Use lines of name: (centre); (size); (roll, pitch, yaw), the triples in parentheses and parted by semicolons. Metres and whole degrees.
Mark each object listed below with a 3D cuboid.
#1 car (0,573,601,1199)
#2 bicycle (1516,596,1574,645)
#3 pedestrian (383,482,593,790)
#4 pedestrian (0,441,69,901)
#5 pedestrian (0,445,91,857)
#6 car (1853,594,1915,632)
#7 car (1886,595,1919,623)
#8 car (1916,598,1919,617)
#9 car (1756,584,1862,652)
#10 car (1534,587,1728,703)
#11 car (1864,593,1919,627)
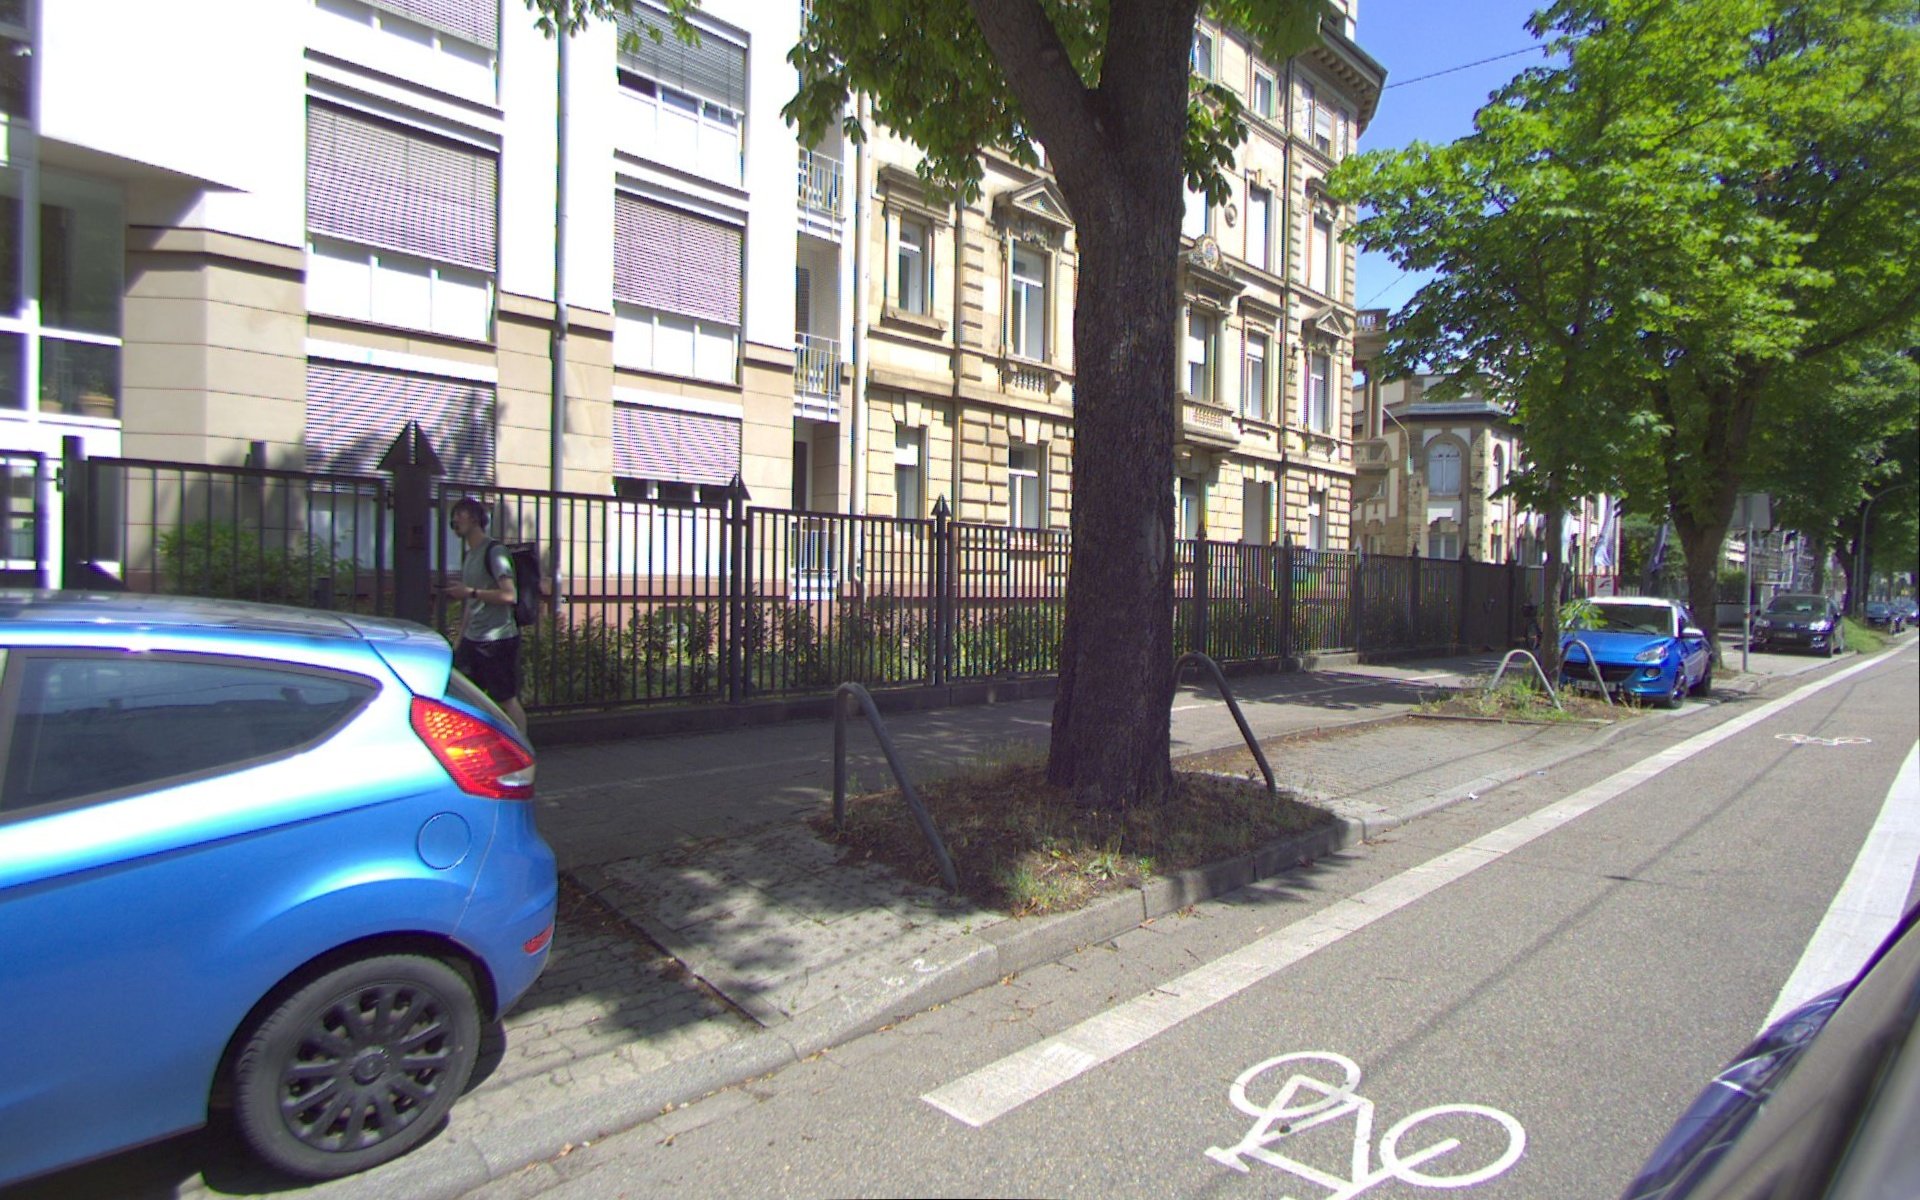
car: (-2.959, 0.667, 2.339); (3.660, 1.461, 1.678); (0, 2, -45)
bicycle: (13.805, 0.464, 23.865); (1.946, 1.084, 0.608); (0, 1, -42)
pedestrian: (-3.056, 0.202, 6.579); (1.066, 1.820, 0.685); (0, 1, -44)
pedestrian: (-4.180, 0.270, 4.037); (0.931, 1.799, 0.706); (0, 1, -42)
pedestrian: (-4.585, 0.213, 4.509); (1.035, 1.783, 0.788); (0, 1, -44)
car: (38.938, 0.527, 42.638); (3.759, 1.420, 1.624); (0, 4, -44)
car: (52.212, 0.465, 55.637); (3.934, 1.420, 1.624); (0, 4, -44)
car: (76.563, 0.644, 79.668); (3.934, 1.420, 1.624); (0, 4, -44)
car: (23.322, 0.449, 27.756); (4.016, 1.635, 1.732); (0, 3, -44)
car: (9.918, 0.565, 14.874); (3.417, 1.471, 1.692); (0, 2, -45)
car: (43.383, 0.419, 47.067); (3.934, 1.420, 1.624); (0, 4, -44)
